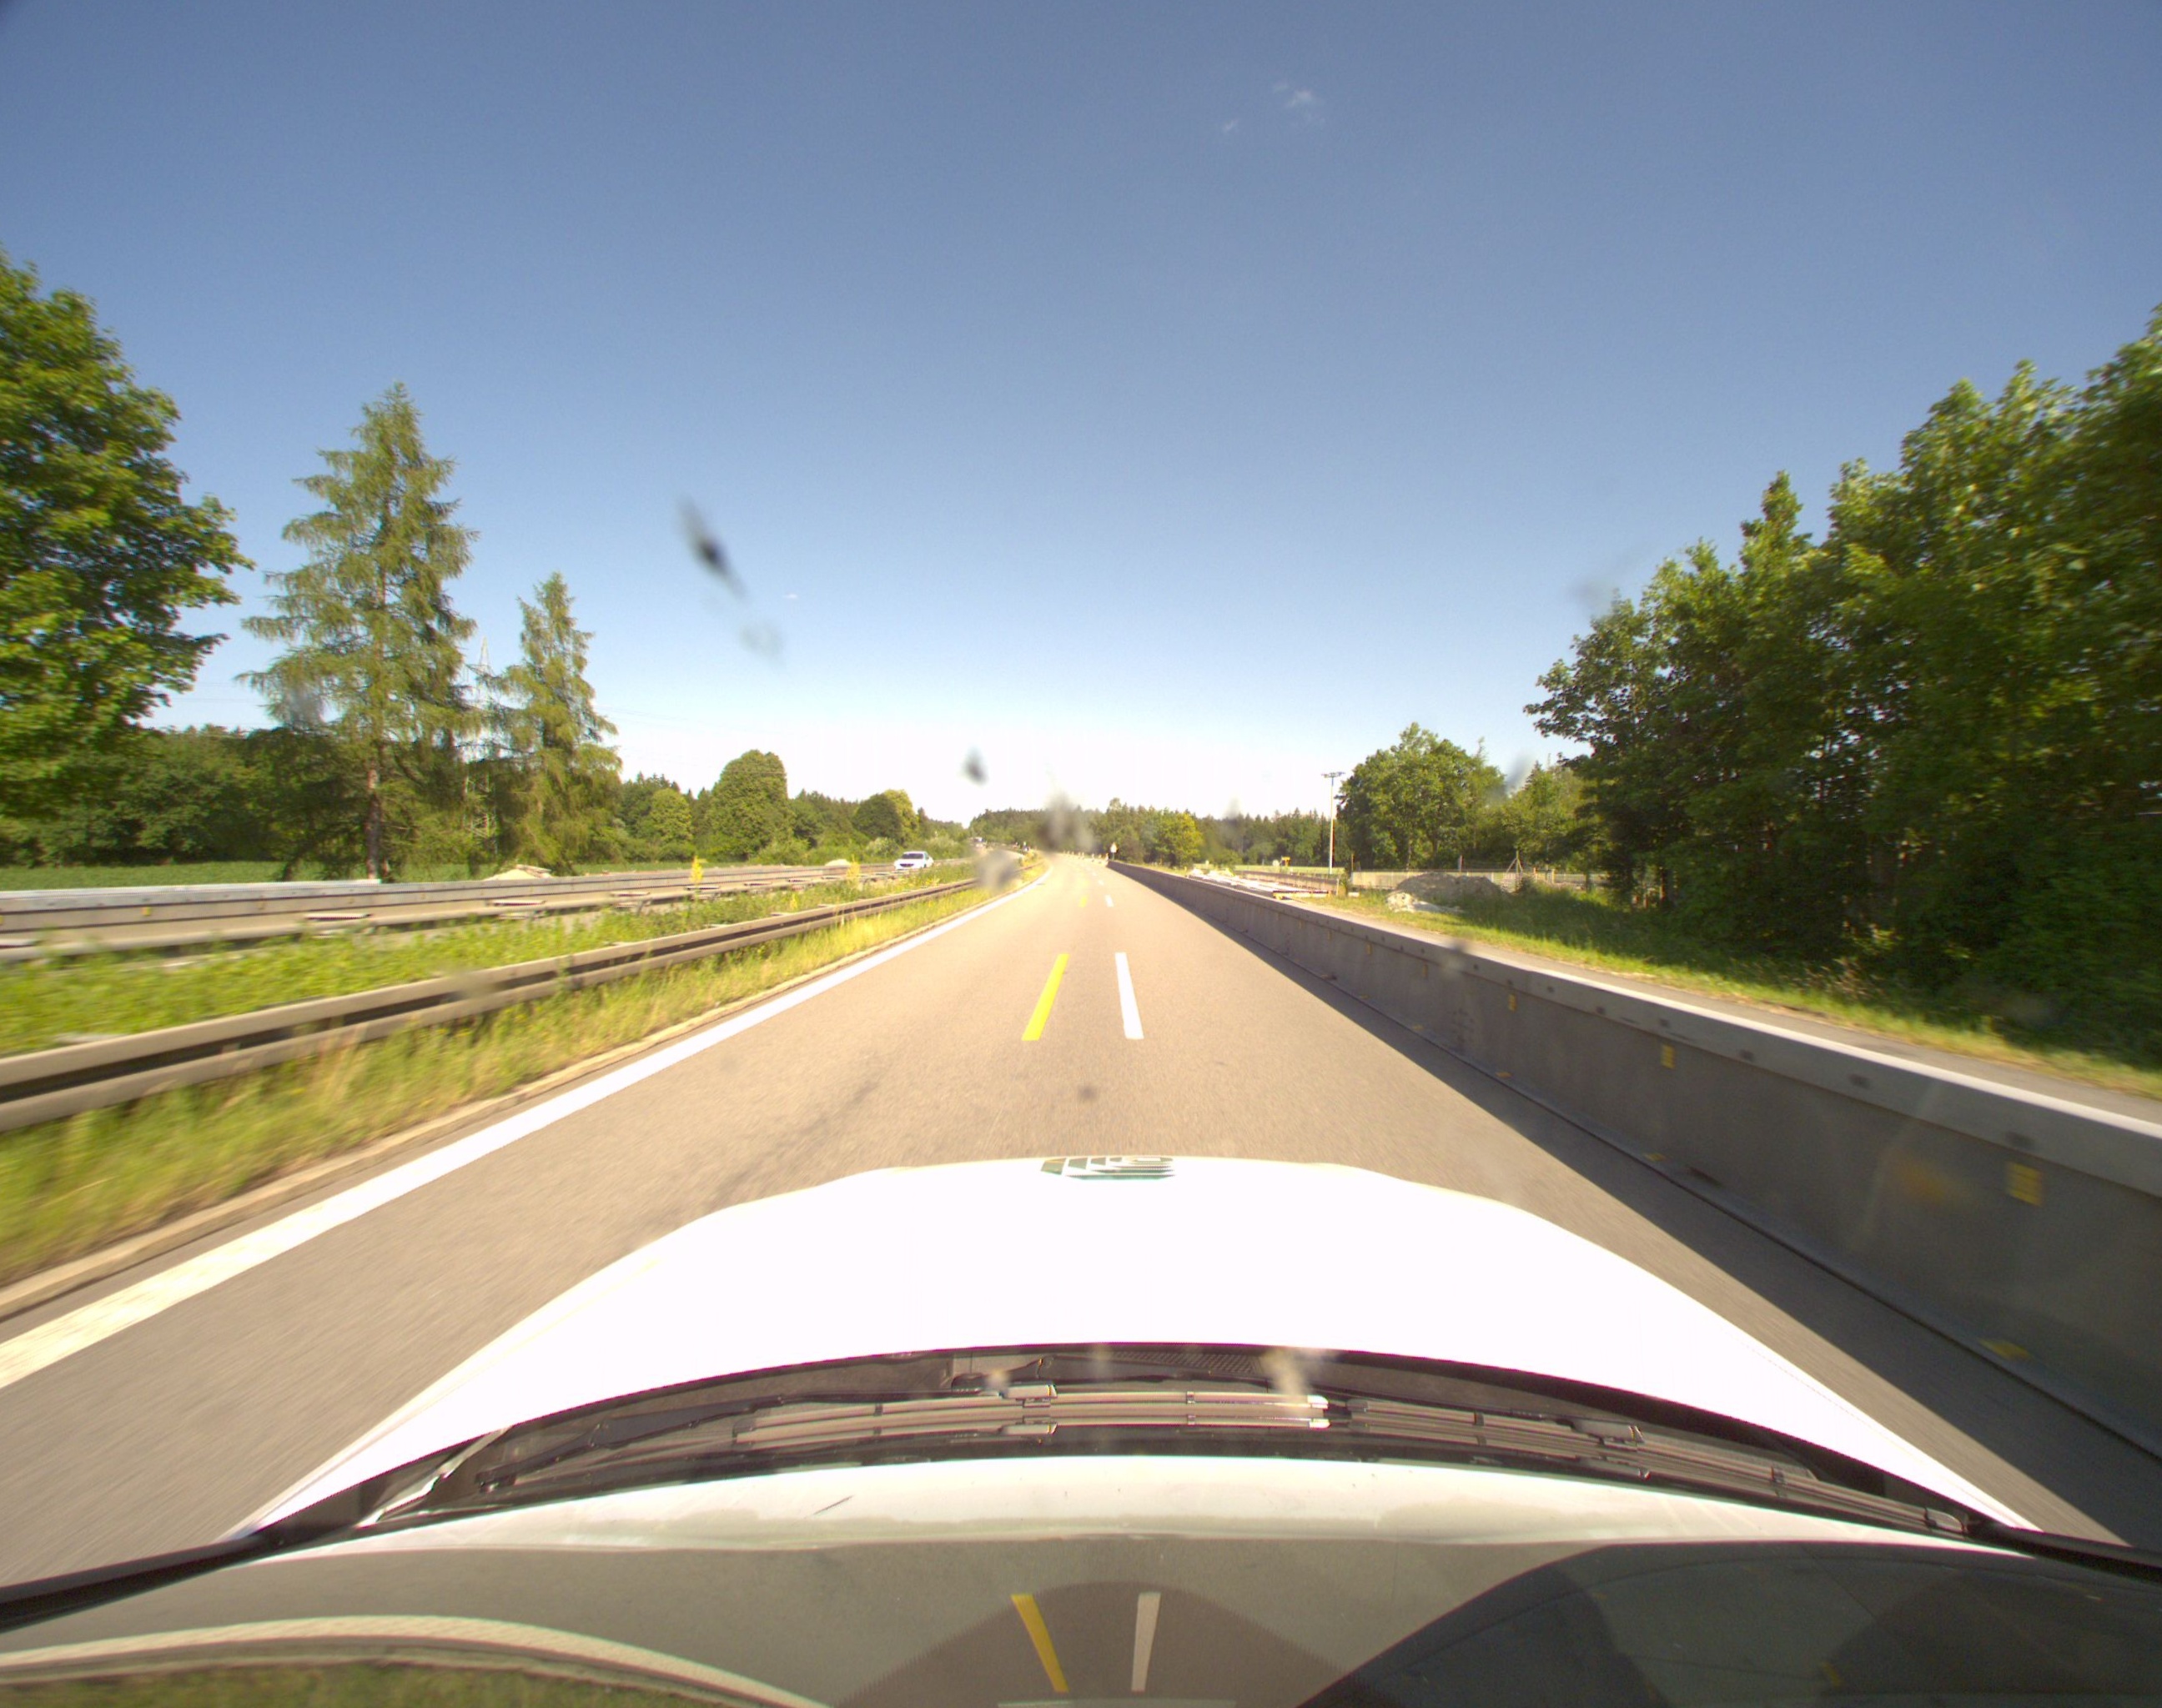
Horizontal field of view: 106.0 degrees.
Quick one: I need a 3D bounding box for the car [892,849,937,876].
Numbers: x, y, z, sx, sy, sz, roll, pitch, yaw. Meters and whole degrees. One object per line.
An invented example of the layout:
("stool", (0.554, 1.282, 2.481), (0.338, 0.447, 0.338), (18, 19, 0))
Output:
("car", (-10.051, 0.514, 49.374), (1.754, 1.512, 4.534), (0, -1, 0))
